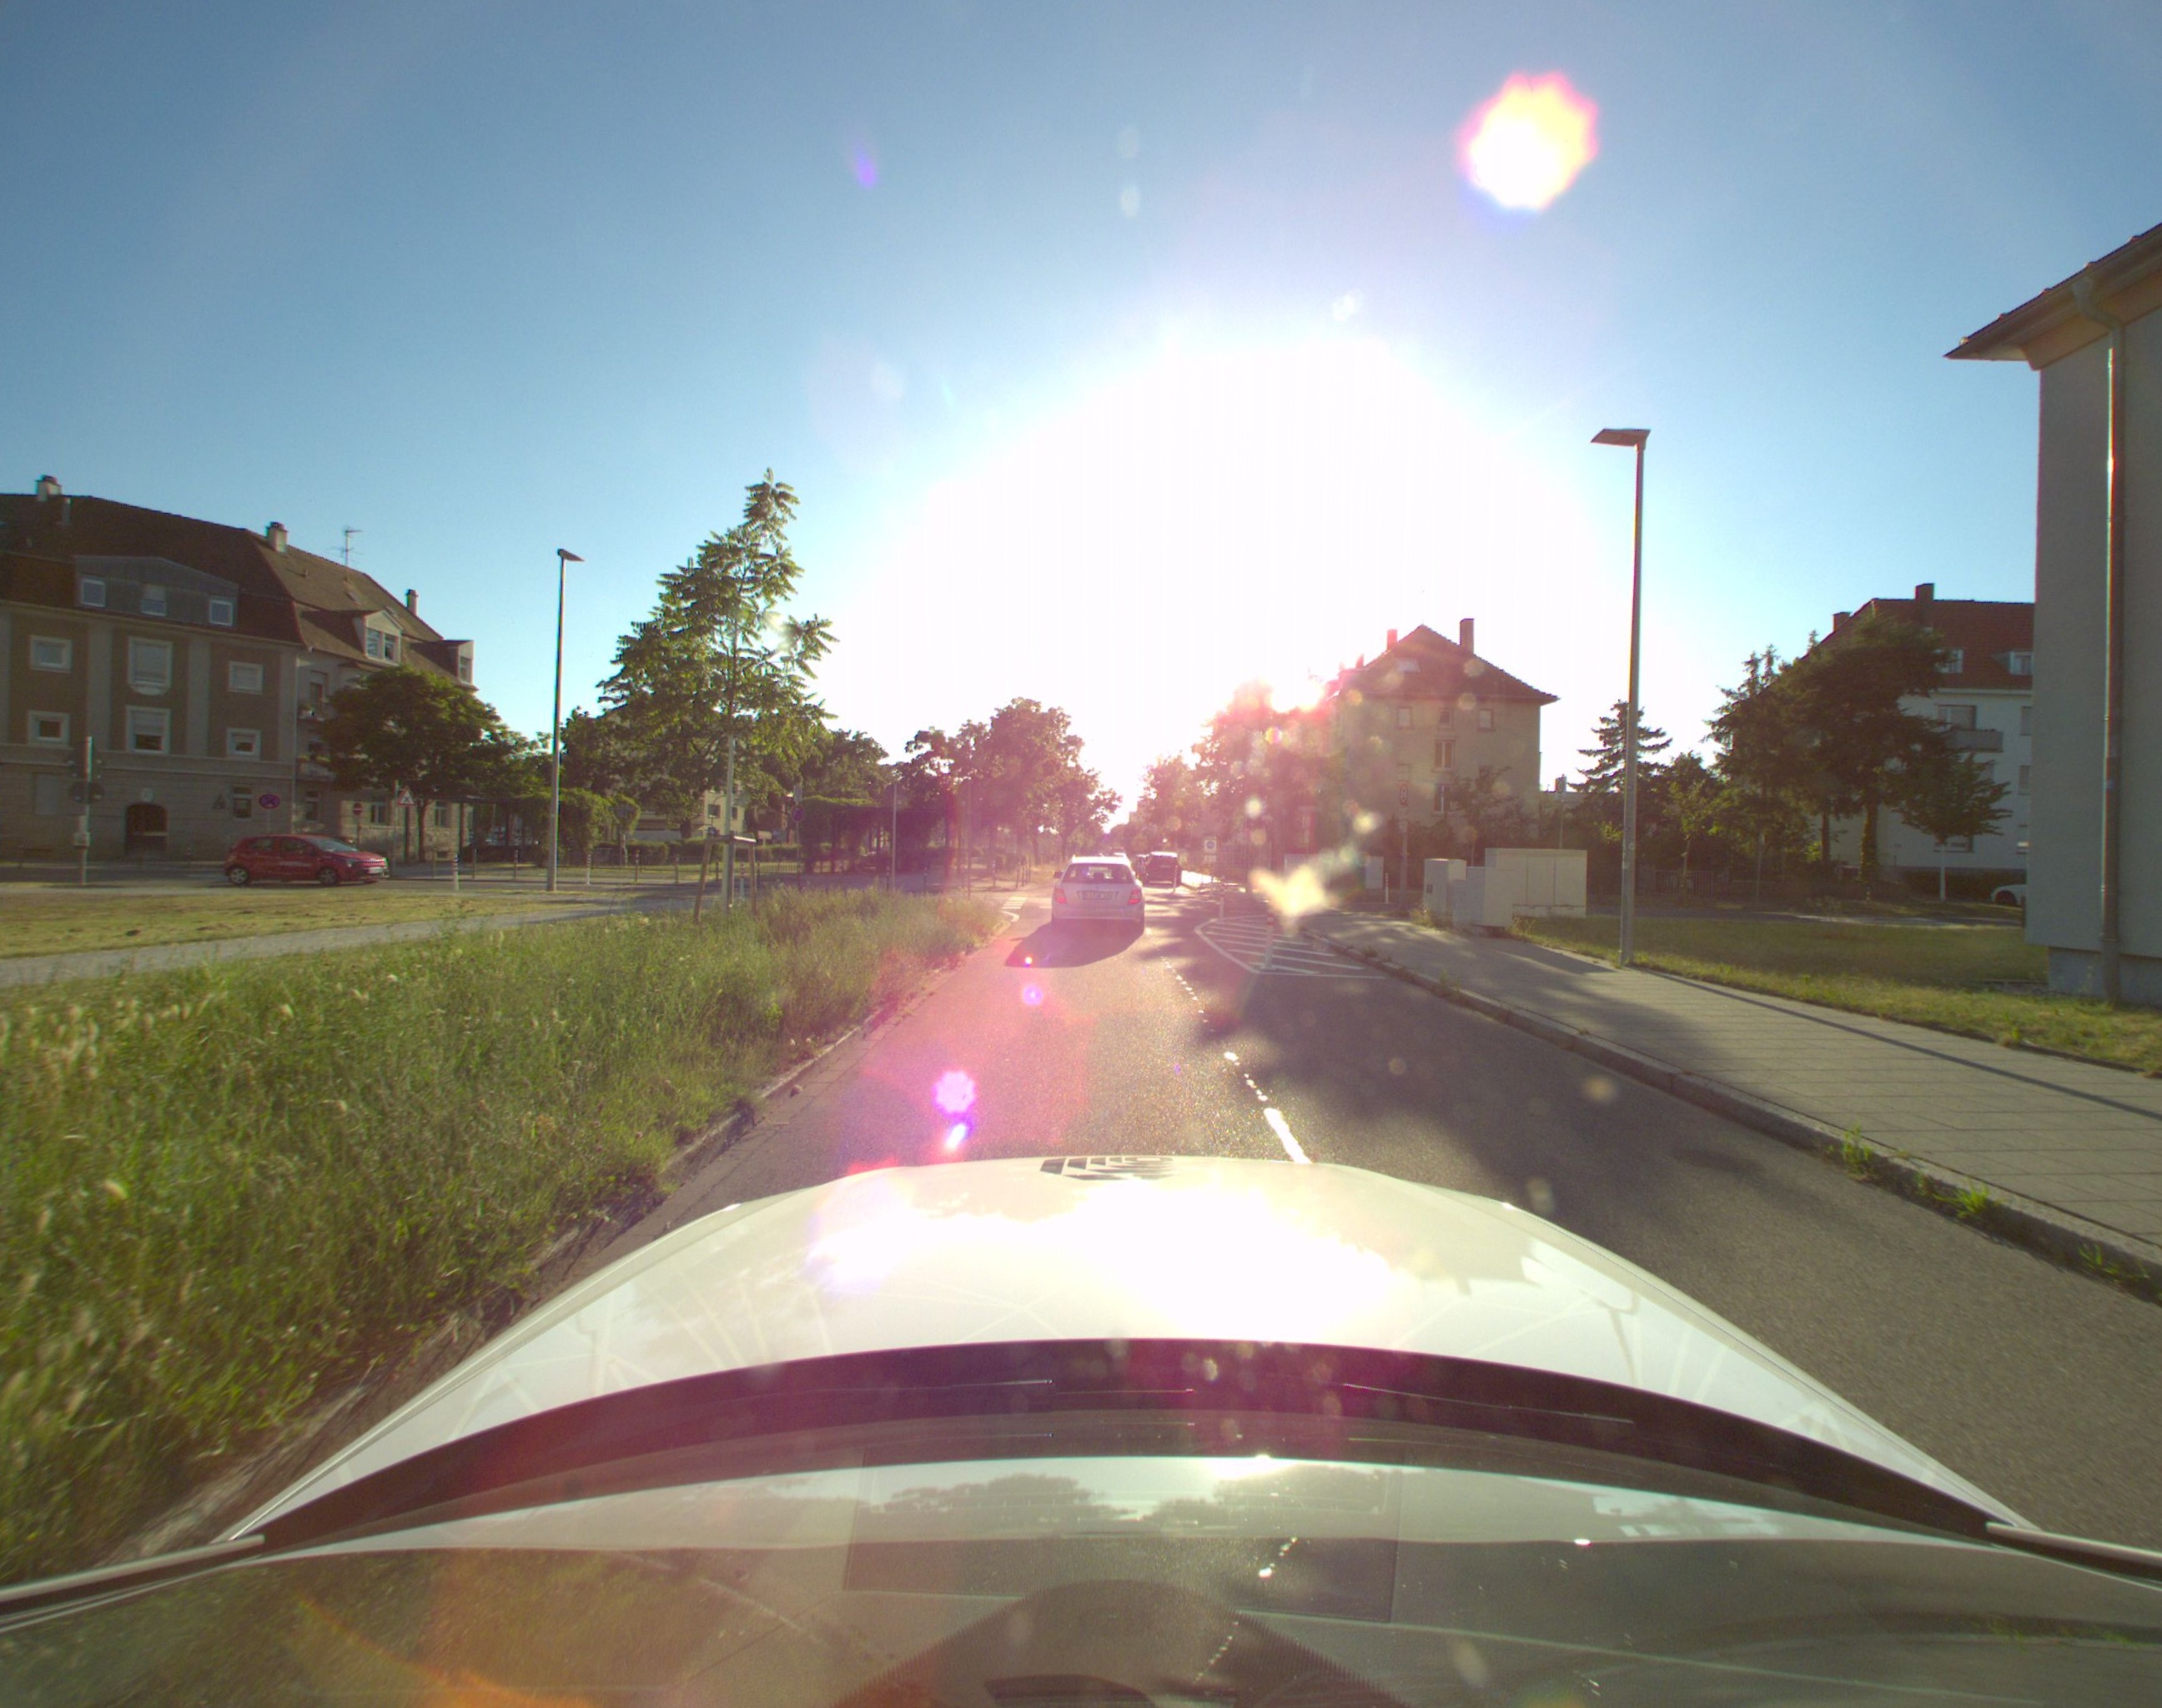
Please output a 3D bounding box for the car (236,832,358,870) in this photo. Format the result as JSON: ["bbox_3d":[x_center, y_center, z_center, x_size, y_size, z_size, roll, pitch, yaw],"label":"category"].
[{"bbox_3d":[-38.216,-0.108,39.851,1.637,1.707,4.296,-2,-1,3],"label":"car"}]

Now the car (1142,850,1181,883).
[{"bbox_3d":[4.110,0.633,41.883,1.715,1.597,4.001,1,-1,2],"label":"car"}]

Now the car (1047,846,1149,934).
[{"bbox_3d":[0.370,0.622,16.457,1.817,1.566,4.002,0,1,2],"label":"car"}]

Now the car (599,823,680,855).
[{"bbox_3d":[-39.908,-1.356,73.751,6.332,2.720,1.984,1,0,-29],"label":"car"}]

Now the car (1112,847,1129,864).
[{"bbox_3d":[4.878,0.217,99.999,1.981,2.023,4.002,1,0,2],"label":"car"}]

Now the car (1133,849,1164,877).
[{"bbox_3d":[4.182,0.539,50.819,1.715,1.597,4.002,1,0,2],"label":"car"}]

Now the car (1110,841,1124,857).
[{"bbox_3d":[5.180,-0.669,118.110,1.854,2.193,5.072,1,0,2],"label":"car"}]

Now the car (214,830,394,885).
[{"bbox_3d":[-23.037,0.075,24.254,3.579,1.481,1.683,2,2,-5],"label":"car"}]
